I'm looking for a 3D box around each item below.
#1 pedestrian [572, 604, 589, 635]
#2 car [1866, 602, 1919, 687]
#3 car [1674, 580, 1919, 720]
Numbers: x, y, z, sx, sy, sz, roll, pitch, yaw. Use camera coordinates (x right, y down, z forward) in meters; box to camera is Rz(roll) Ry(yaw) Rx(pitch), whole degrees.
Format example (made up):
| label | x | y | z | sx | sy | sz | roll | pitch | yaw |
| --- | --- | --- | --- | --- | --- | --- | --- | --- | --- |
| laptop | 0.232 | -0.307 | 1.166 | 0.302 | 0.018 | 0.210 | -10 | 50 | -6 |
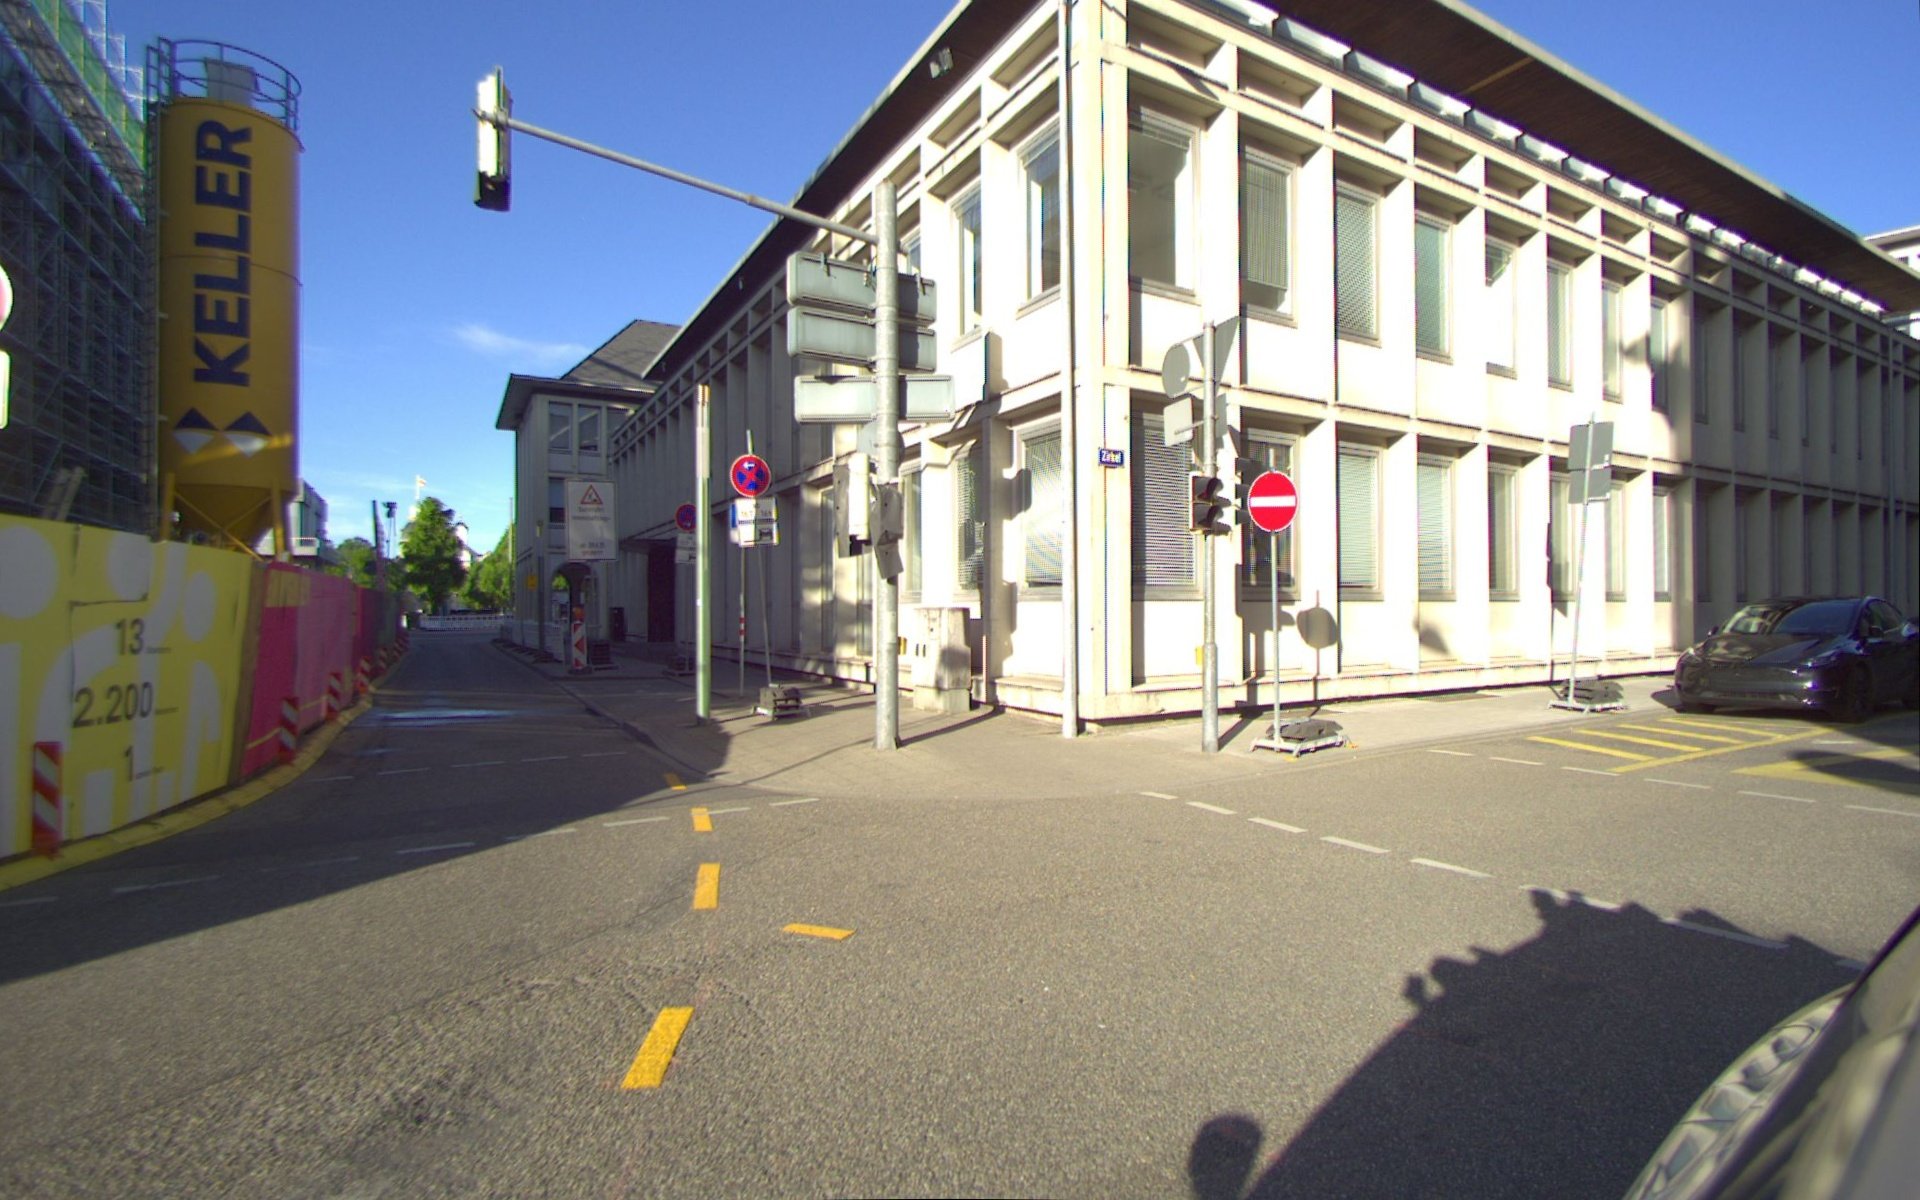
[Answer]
| label | x | y | z | sx | sy | sz | roll | pitch | yaw |
| --- | --- | --- | --- | --- | --- | --- | --- | --- | --- |
| pedestrian | -17.817 | 0.897 | 47.450 | 0.658 | 1.444 | 0.644 | 0 | -1 | -29 |
| car | 17.584 | 0.709 | 17.360 | 4.506 | 1.361 | 1.703 | -1 | -1 | -30 |
| car | 11.952 | 0.579 | 13.906 | 4.531 | 1.644 | 1.901 | -1 | -1 | -33 |
